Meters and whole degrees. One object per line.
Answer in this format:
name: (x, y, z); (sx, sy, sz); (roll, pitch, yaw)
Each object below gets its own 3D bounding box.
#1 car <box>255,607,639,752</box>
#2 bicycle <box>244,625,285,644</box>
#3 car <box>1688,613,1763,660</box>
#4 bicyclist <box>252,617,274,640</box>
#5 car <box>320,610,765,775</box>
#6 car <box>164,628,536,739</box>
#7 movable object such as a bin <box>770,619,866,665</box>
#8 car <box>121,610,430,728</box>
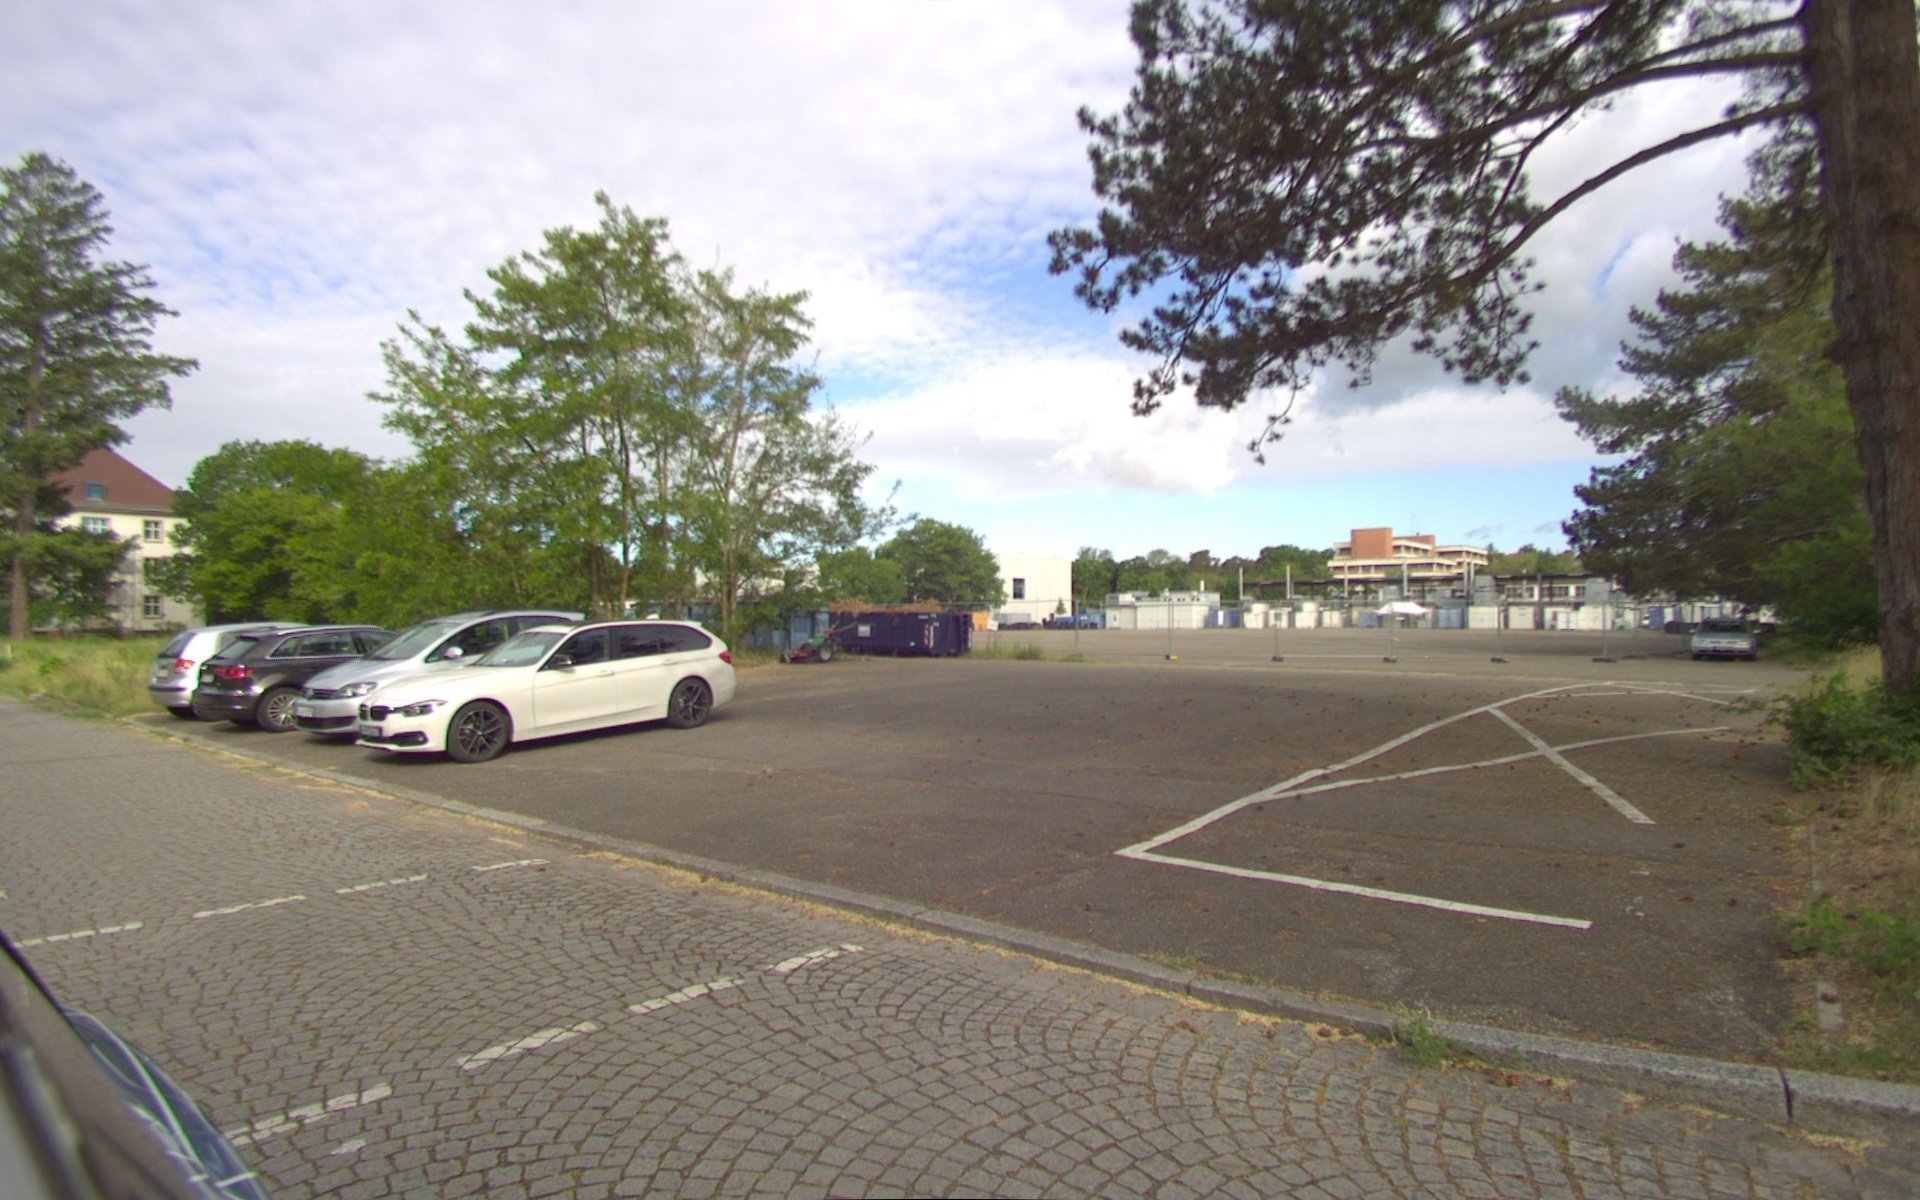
car: (-6.936, 0.961, 14.144); (1.844, 1.602, 4.433); (-1, 0, 36)
bicycle: (-58.183, 2.886, 84.633); (2.637, 1.516, 1.273); (1, -2, -45)
car: (26.080, 1.212, 34.533); (1.922, 1.488, 4.314); (-1, -1, 37)
bicyclist: (-58.256, 2.386, 84.579); (1.300, 1.882, 1.251); (1, -2, -44)
car: (-4.884, 0.954, 12.537); (1.911, 1.450, 4.761); (-1, 1, 38)
car: (-9.193, 1.156, 15.635); (1.882, 1.433, 4.576); (-1, -2, 37)
movable object such as a bin: (-3.886, 1.128, 27.924); (1.169, 1.221, 2.505); (-1, -1, 39)
car: (-11.413, 1.056, 17.132); (1.677, 1.466, 3.940); (-1, 3, 36)
